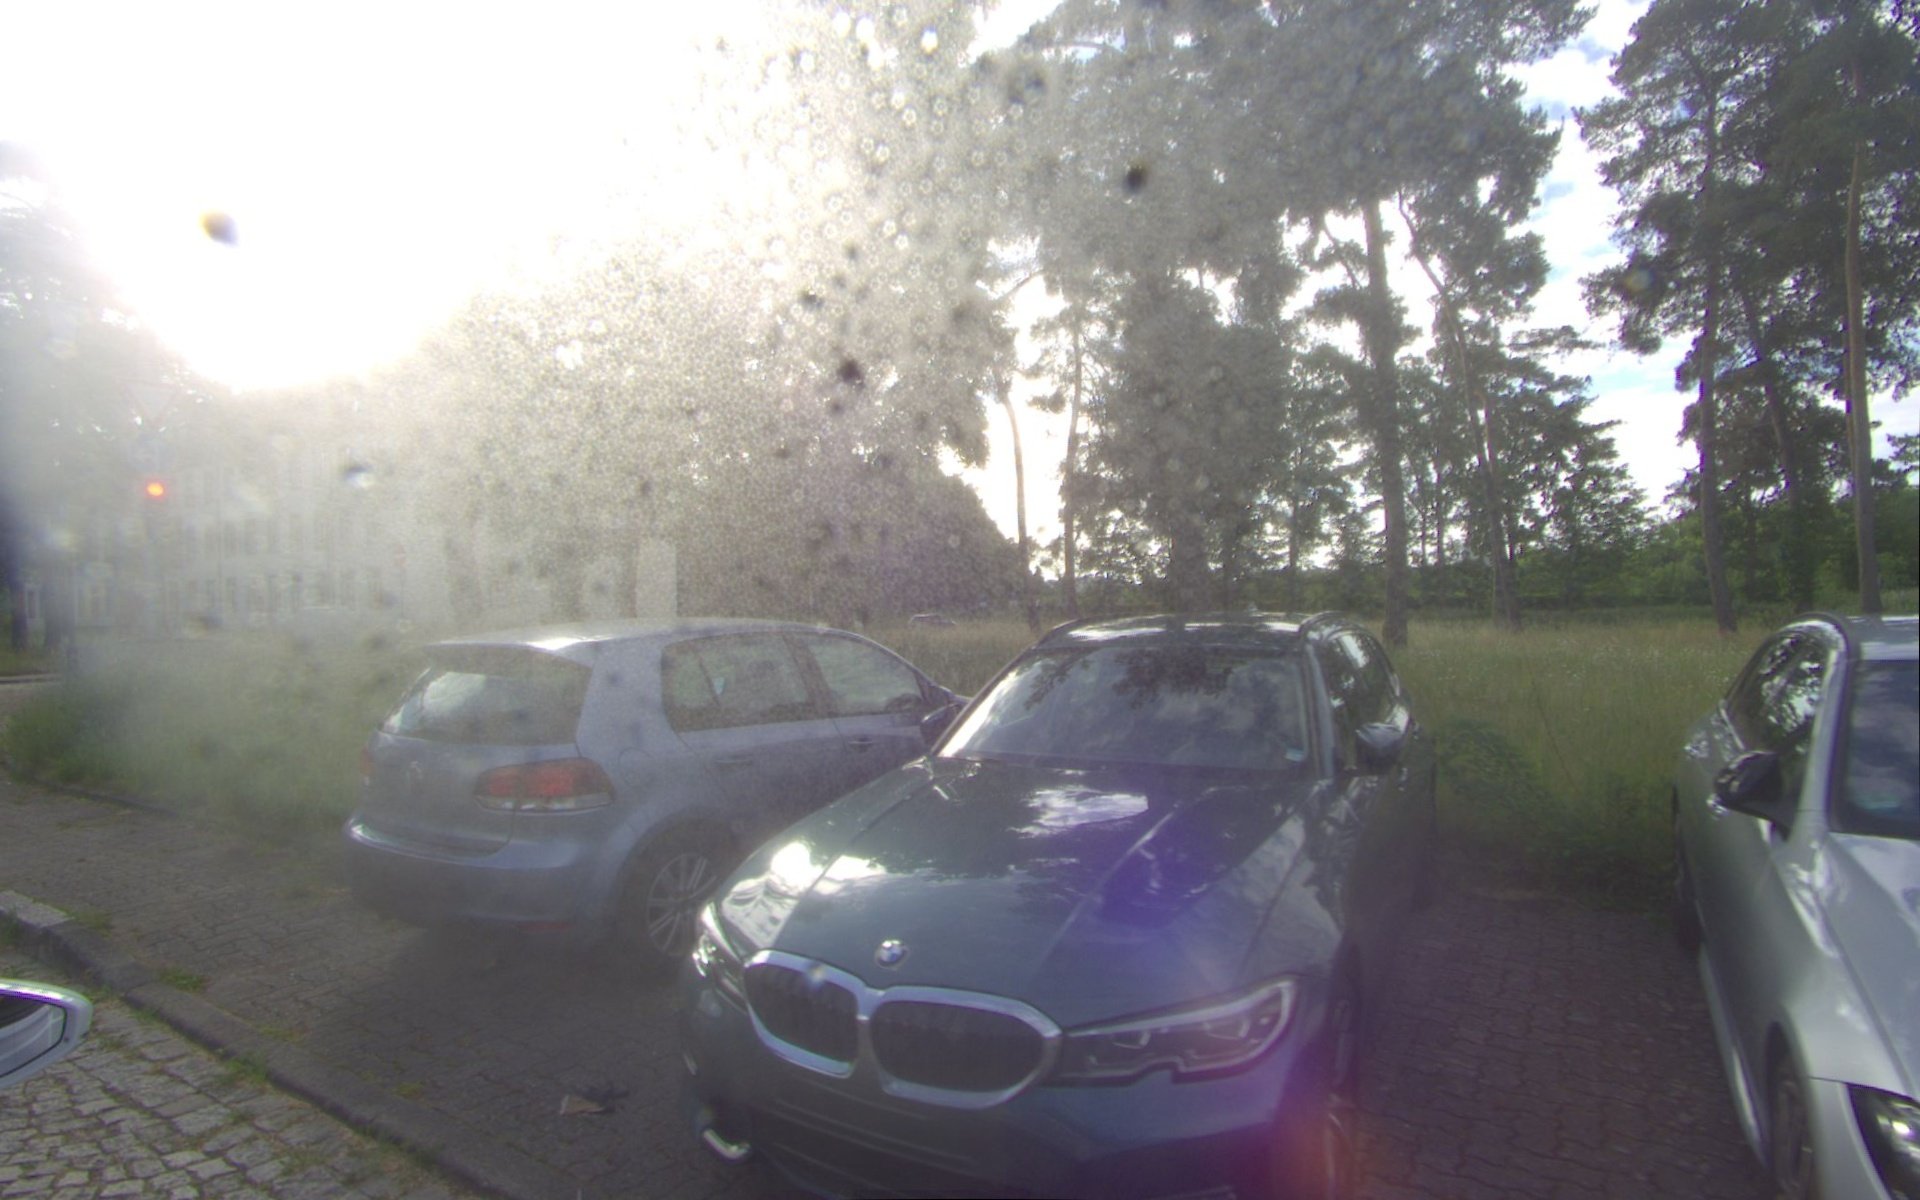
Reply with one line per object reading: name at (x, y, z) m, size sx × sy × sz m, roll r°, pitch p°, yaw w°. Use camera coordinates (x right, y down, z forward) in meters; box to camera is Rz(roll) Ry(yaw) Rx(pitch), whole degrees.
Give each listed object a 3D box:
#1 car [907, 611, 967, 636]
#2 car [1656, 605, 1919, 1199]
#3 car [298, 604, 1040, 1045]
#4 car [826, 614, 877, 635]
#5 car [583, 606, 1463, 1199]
car at (-1.566, 1.585, 67.373) m, size 3.922 × 1.622 × 2.000 m, roll 0°, pitch 0°, yaw -4°
car at (3.086, 0.766, 2.684) m, size 1.741 × 1.448 × 4.317 m, roll -1°, pitch 0°, yaw 31°
car at (-1.161, 0.796, 5.528) m, size 1.618 × 1.490 × 3.834 m, roll -1°, pitch 0°, yaw 32°
car at (-7.868, 1.793, 72.832) m, size 1.541 × 1.415 × 3.981 m, roll -1°, pitch -3°, yaw 33°
car at (0.918, 0.785, 4.091) m, size 1.781 × 1.503 × 4.506 m, roll -1°, pitch 0°, yaw 30°
